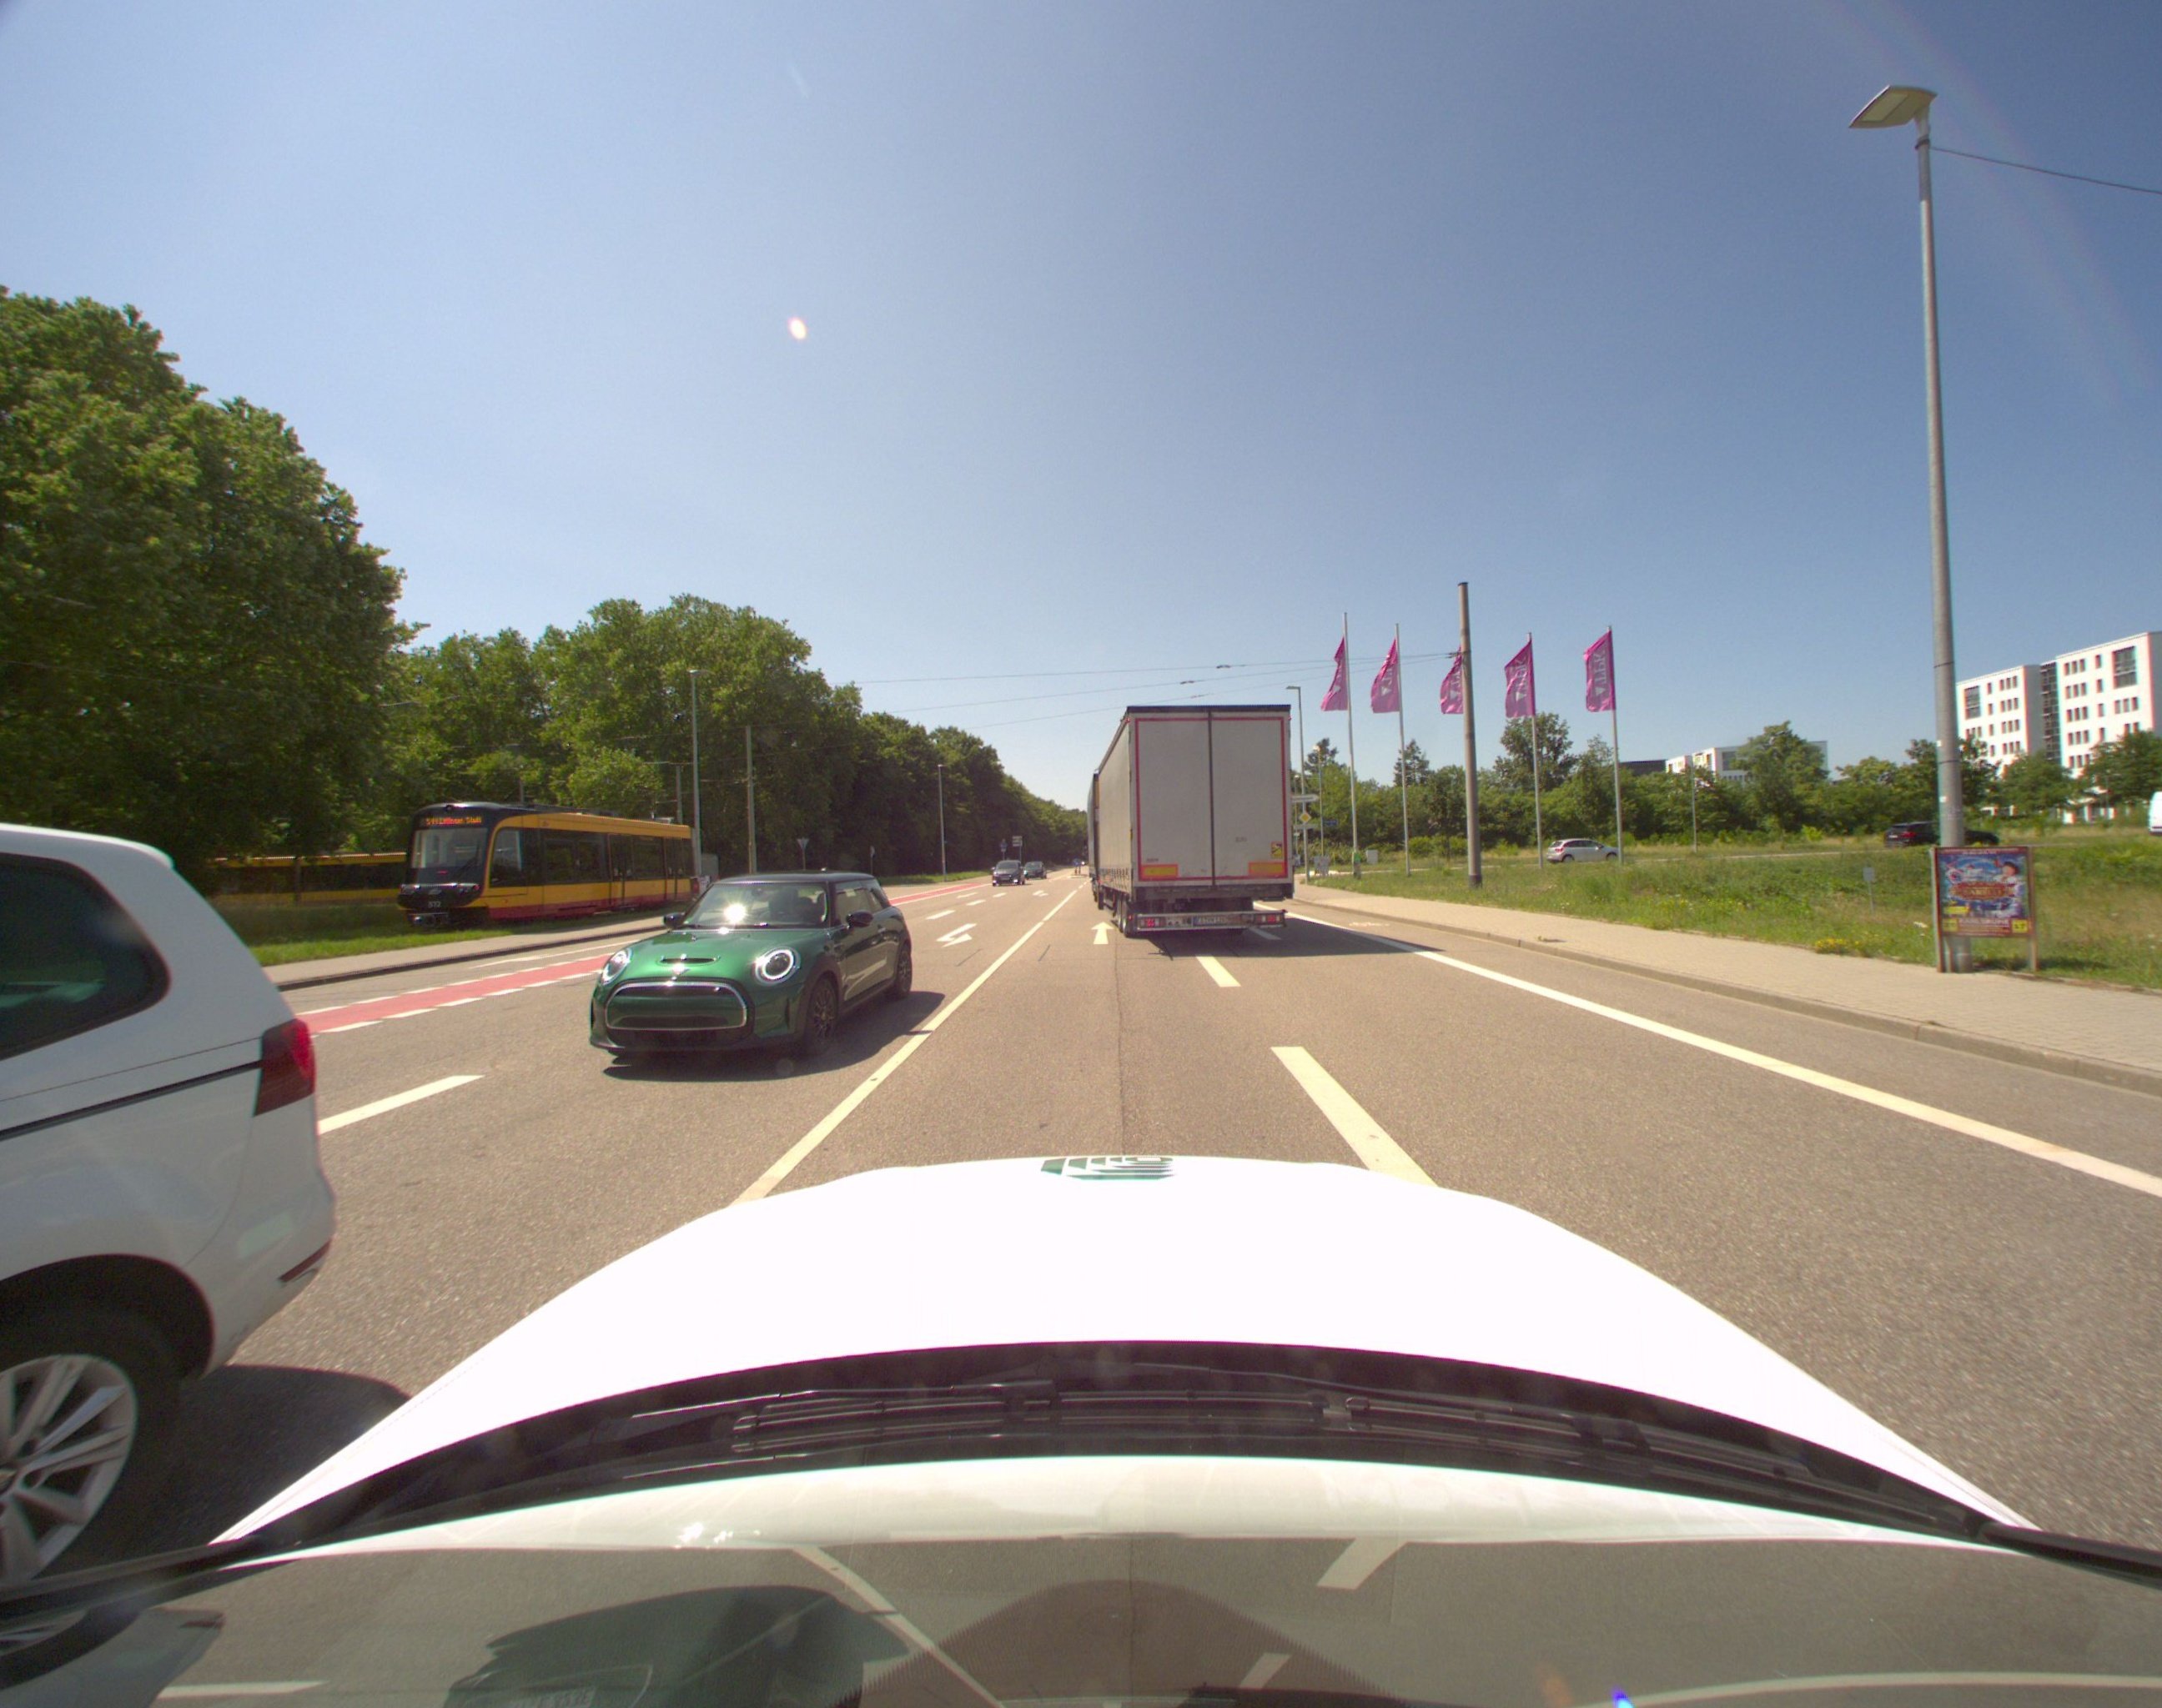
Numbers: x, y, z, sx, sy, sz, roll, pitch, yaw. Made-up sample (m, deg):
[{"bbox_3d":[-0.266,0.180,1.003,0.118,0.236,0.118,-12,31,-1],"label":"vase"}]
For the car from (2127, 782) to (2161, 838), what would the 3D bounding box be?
[{"bbox_3d":[57.670,-2.312,40.484,6.785,2.802,2.677,-2,-1,12],"label":"car"}]

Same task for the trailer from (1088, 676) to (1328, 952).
[{"bbox_3d":[1.946,-0.598,17.030,3.069,4.070,9.800,-1,0,-2],"label":"trailer"}]

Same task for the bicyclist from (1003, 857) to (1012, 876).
[{"bbox_3d":[-6.525,1.130,72.492,0.662,1.706,0.770,-1,0,2],"label":"bicyclist"}]

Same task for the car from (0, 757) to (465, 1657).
[{"bbox_3d":[-3.039,0.696,0.277,1.804,1.723,4.834,-1,0,2],"label":"car"}]

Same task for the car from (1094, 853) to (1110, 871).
[{"bbox_3d":[2.421,0.892,92.552,1.648,1.907,4.004,-2,0,4],"label":"car"}]

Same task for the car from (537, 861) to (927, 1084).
[{"bbox_3d":[-2.795,0.837,7.617,1.716,1.462,3.993,-1,0,3],"label":"car"}]

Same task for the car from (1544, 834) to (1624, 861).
[{"bbox_3d":[29.033,-0.359,47.109,3.592,1.533,1.711,0,0,12],"label":"car"}]

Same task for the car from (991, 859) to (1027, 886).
[{"bbox_3d":[-4.218,1.045,48.152,1.616,1.456,3.503,-3,-1,2],"label":"car"}]

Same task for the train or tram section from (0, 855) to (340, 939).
[{"bbox_3d":[-52.641,2.362,47.082,14.202,3.759,3.004,-3,0,-21],"label":"train or tram section"}]

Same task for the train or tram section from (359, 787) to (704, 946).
[{"bbox_3d":[-16.535,0.303,26.562,3.010,3.759,12.975,-3,0,-4],"label":"train or tram section"}]

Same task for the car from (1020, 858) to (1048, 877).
[{"bbox_3d":[-3.787,1.079,66.310,1.736,1.405,4.445,-2,1,3],"label":"car"}]

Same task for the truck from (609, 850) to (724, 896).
[{"bbox_3d":[-29.904,1.403,58.864,7.269,2.910,2.576,-3,-1,12],"label":"truck"}]

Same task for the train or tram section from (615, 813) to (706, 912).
[{"bbox_3d":[-19.570,0.451,37.449,3.035,3.759,11.505,-3,0,-30],"label":"train or tram section"}]

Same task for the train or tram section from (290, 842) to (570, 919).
[{"bbox_3d":[-39.541,1.563,49.866,14.113,3.759,3.023,-3,0,-3],"label":"train or tram section"}]

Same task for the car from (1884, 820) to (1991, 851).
[{"bbox_3d":[44.696,-0.958,42.557,3.596,1.533,1.710,0,0,7],"label":"car"}]

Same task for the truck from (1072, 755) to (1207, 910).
[{"bbox_3d":[1.532,-0.583,25.631,3.071,4.070,7.947,-1,0,-4],"label":"truck"}]

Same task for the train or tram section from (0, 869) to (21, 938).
[{"bbox_3d":[-64.130,3.023,41.827,11.468,3.759,2.999,-3,0,-27],"label":"train or tram section"}]

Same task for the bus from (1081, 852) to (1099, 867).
[{"bbox_3d":[2.144,1.257,186.061,2.736,3.045,11.958,-4,0,6],"label":"bus"}]

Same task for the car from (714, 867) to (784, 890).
[{"bbox_3d":[-23.260,1.732,57.140,4.271,1.417,1.672,-3,-2,10],"label":"car"}]
